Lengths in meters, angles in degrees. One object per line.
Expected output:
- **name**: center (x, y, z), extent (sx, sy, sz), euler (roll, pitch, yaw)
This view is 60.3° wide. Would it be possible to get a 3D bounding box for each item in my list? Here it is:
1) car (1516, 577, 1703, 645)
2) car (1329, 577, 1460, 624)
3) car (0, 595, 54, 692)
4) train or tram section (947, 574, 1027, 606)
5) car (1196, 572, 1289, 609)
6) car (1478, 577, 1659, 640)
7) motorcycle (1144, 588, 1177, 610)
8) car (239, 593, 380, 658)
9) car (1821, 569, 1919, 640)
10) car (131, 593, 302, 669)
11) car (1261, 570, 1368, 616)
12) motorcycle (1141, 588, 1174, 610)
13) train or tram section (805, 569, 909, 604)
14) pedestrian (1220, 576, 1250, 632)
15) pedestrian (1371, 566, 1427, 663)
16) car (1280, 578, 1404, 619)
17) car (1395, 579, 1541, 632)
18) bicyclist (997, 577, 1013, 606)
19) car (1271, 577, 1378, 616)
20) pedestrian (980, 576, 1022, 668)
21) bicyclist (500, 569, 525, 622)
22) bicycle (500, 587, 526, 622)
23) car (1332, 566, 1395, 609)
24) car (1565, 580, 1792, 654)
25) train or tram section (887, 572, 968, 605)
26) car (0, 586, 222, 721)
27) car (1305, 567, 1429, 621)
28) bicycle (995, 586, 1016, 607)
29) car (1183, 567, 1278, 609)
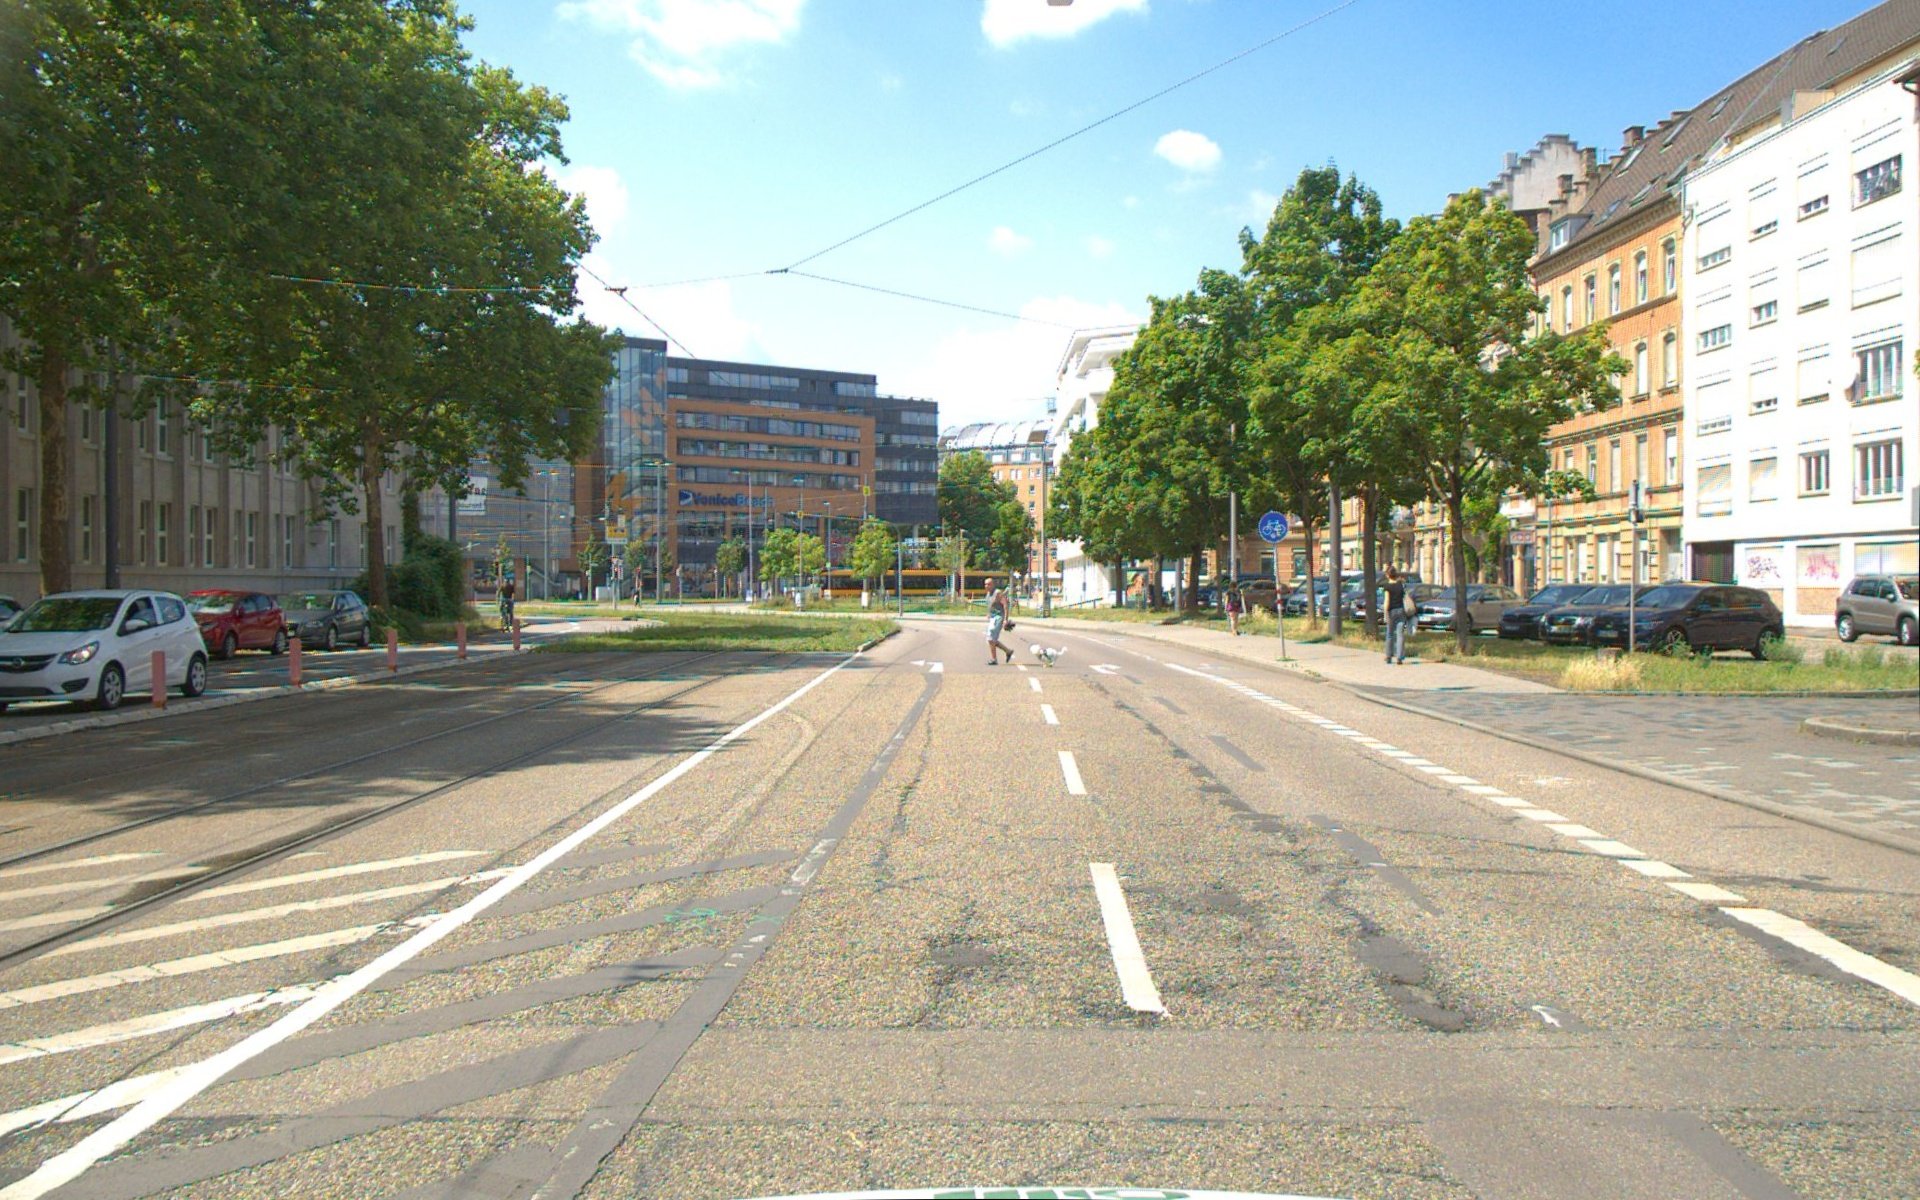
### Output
- **car**: center (14.290, 0.239, 36.343), extent (3.951, 1.404, 1.939), euler (1, 0, -34)
- **car**: center (13.886, 0.030, 52.811), extent (4.223, 1.404, 1.828), euler (1, 0, -37)
- **car**: center (-15.947, 0.684, 25.848), extent (1.711, 1.479, 3.490), euler (2, 1, -2)
- **train or tram section**: center (3.439, -1.205, 202.494), extent (3.005, 3.684, 12.584), euler (1, 0, 36)
- **car**: center (13.617, -0.440, 79.635), extent (4.112, 1.685, 1.900), euler (1, 0, -27)
- **car**: center (14.479, 0.204, 39.322), extent (3.942, 1.404, 1.943), euler (1, 0, -29)
- **motorcycle**: center (10.924, -0.040, 90.175), extent (1.747, 1.187, 0.639), euler (0, 0, -2)
- **car**: center (-16.020, 0.596, 40.974), extent (1.887, 1.393, 4.316), euler (2, 1, -2)
- **car**: center (22.966, 0.113, 40.149), extent (1.794, 1.643, 4.495), euler (1, 0, 0)
- **car**: center (-16.120, 0.636, 36.096), extent (1.887, 1.445, 4.050), euler (2, 1, 0)
- **car**: center (14.364, -0.283, 67.006), extent (4.094, 1.771, 1.833), euler (1, 0, -31)
- **motorcycle**: center (10.906, -0.058, 91.209), extent (1.747, 1.187, 0.639), euler (0, 0, -2)
- **train or tram section**: center (-11.358, -1.434, 183.868), extent (3.167, 3.662, 13.429), euler (1, 0, 40)
- **pedestrian**: center (8.151, 0.108, 49.017), extent (0.686, 1.620, 0.905), euler (1, 0, -1)
- **pedestrian**: center (7.969, 0.256, 30.058), extent (0.686, 1.734, 1.044), euler (1, 0, -1)
- **car**: center (14.034, -0.051, 60.642), extent (4.638, 1.404, 1.830), euler (1, 0, -35)
- **car**: center (14.318, 0.172, 46.530), extent (4.223, 1.404, 1.828), euler (1, 0, -37)
- **bicyclist**: center (2.972, -0.596, 109.083), extent (0.680, 1.856, 0.956), euler (-2, 2, 23)
- **car**: center (14.102, -0.130, 63.934), extent (4.039, 1.430, 1.829), euler (1, 0, -36)
- **pedestrian**: center (0.794, 0.421, 31.878), extent (0.765, 1.734, 0.702), euler (1, 0, 1)
- **bicyclist**: center (-14.947, -0.150, 55.277), extent (0.749, 1.734, 0.780), euler (1, 0, -18)
- **bicycle**: center (-14.941, 0.153, 55.207), extent (0.778, 1.129, 2.266), euler (1, 0, -16)
- **car**: center (21.765, -0.689, 89.379), extent (2.067, 2.216, 5.394), euler (1, 0, 0)
- **car**: center (14.130, 0.333, 32.540), extent (3.933, 1.378, 1.948), euler (1, 0, -23)
- **train or tram section**: center (-3.712, -1.270, 193.200), extent (3.009, 3.666, 10.931), euler (1, 0, 41)
- **car**: center (-11.303, 0.636, 21.482), extent (1.724, 1.505, 3.787), euler (-2, 1, -1)
- **car**: center (14.016, -0.196, 56.835), extent (4.319, 1.771, 1.828), euler (1, 0, -37)
- **bicycle**: center (2.999, -0.255, 109.050), extent (0.679, 1.264, 1.839), euler (-2, 2, 22)
- **car**: center (13.541, -0.592, 82.601), extent (4.568, 1.961, 1.896), euler (1, 0, -32)
